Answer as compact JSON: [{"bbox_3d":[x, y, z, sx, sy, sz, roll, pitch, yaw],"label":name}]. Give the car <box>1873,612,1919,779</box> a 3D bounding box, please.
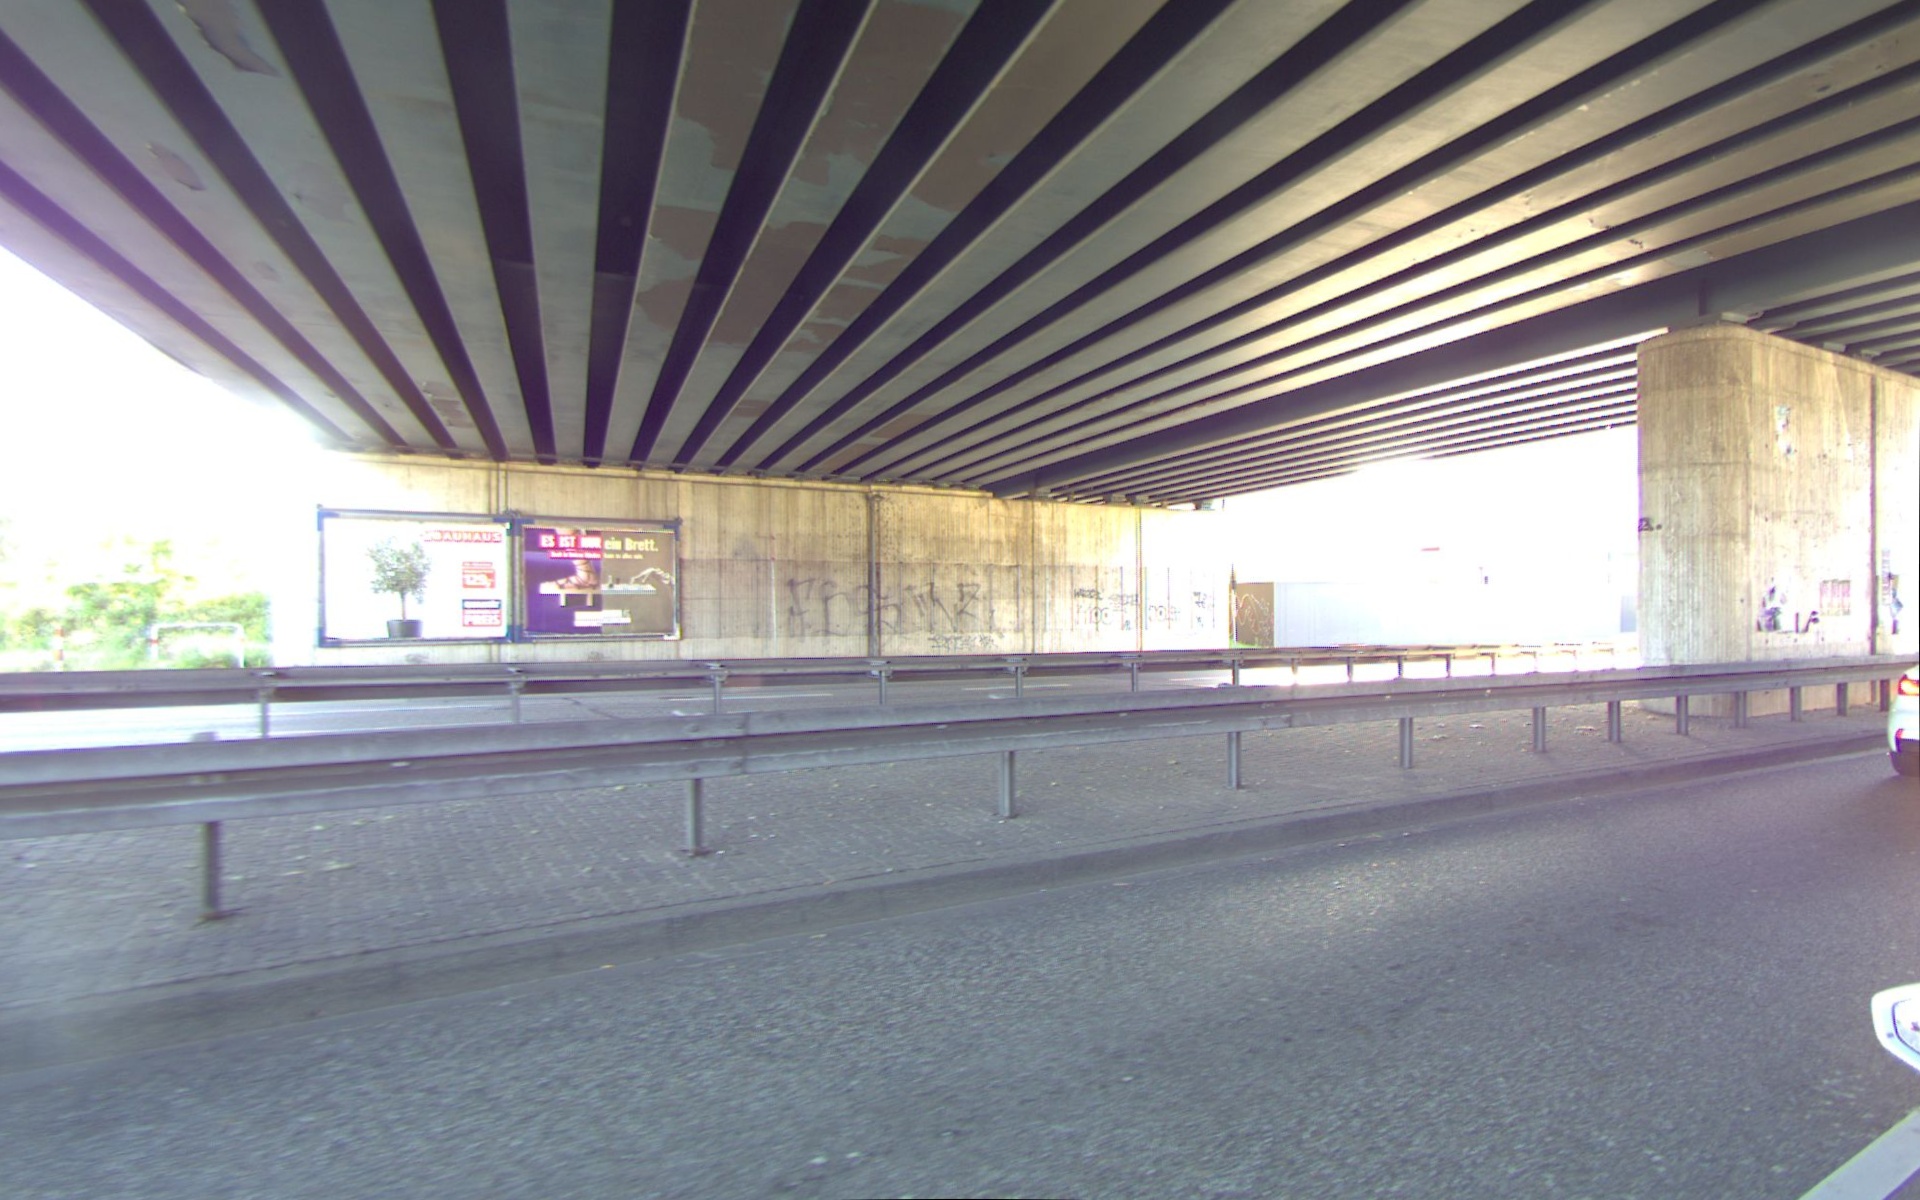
[{"bbox_3d":[10.090,0.850,9.109,3.770,1.429,1.684,1,0,-31],"label":"car"}]
